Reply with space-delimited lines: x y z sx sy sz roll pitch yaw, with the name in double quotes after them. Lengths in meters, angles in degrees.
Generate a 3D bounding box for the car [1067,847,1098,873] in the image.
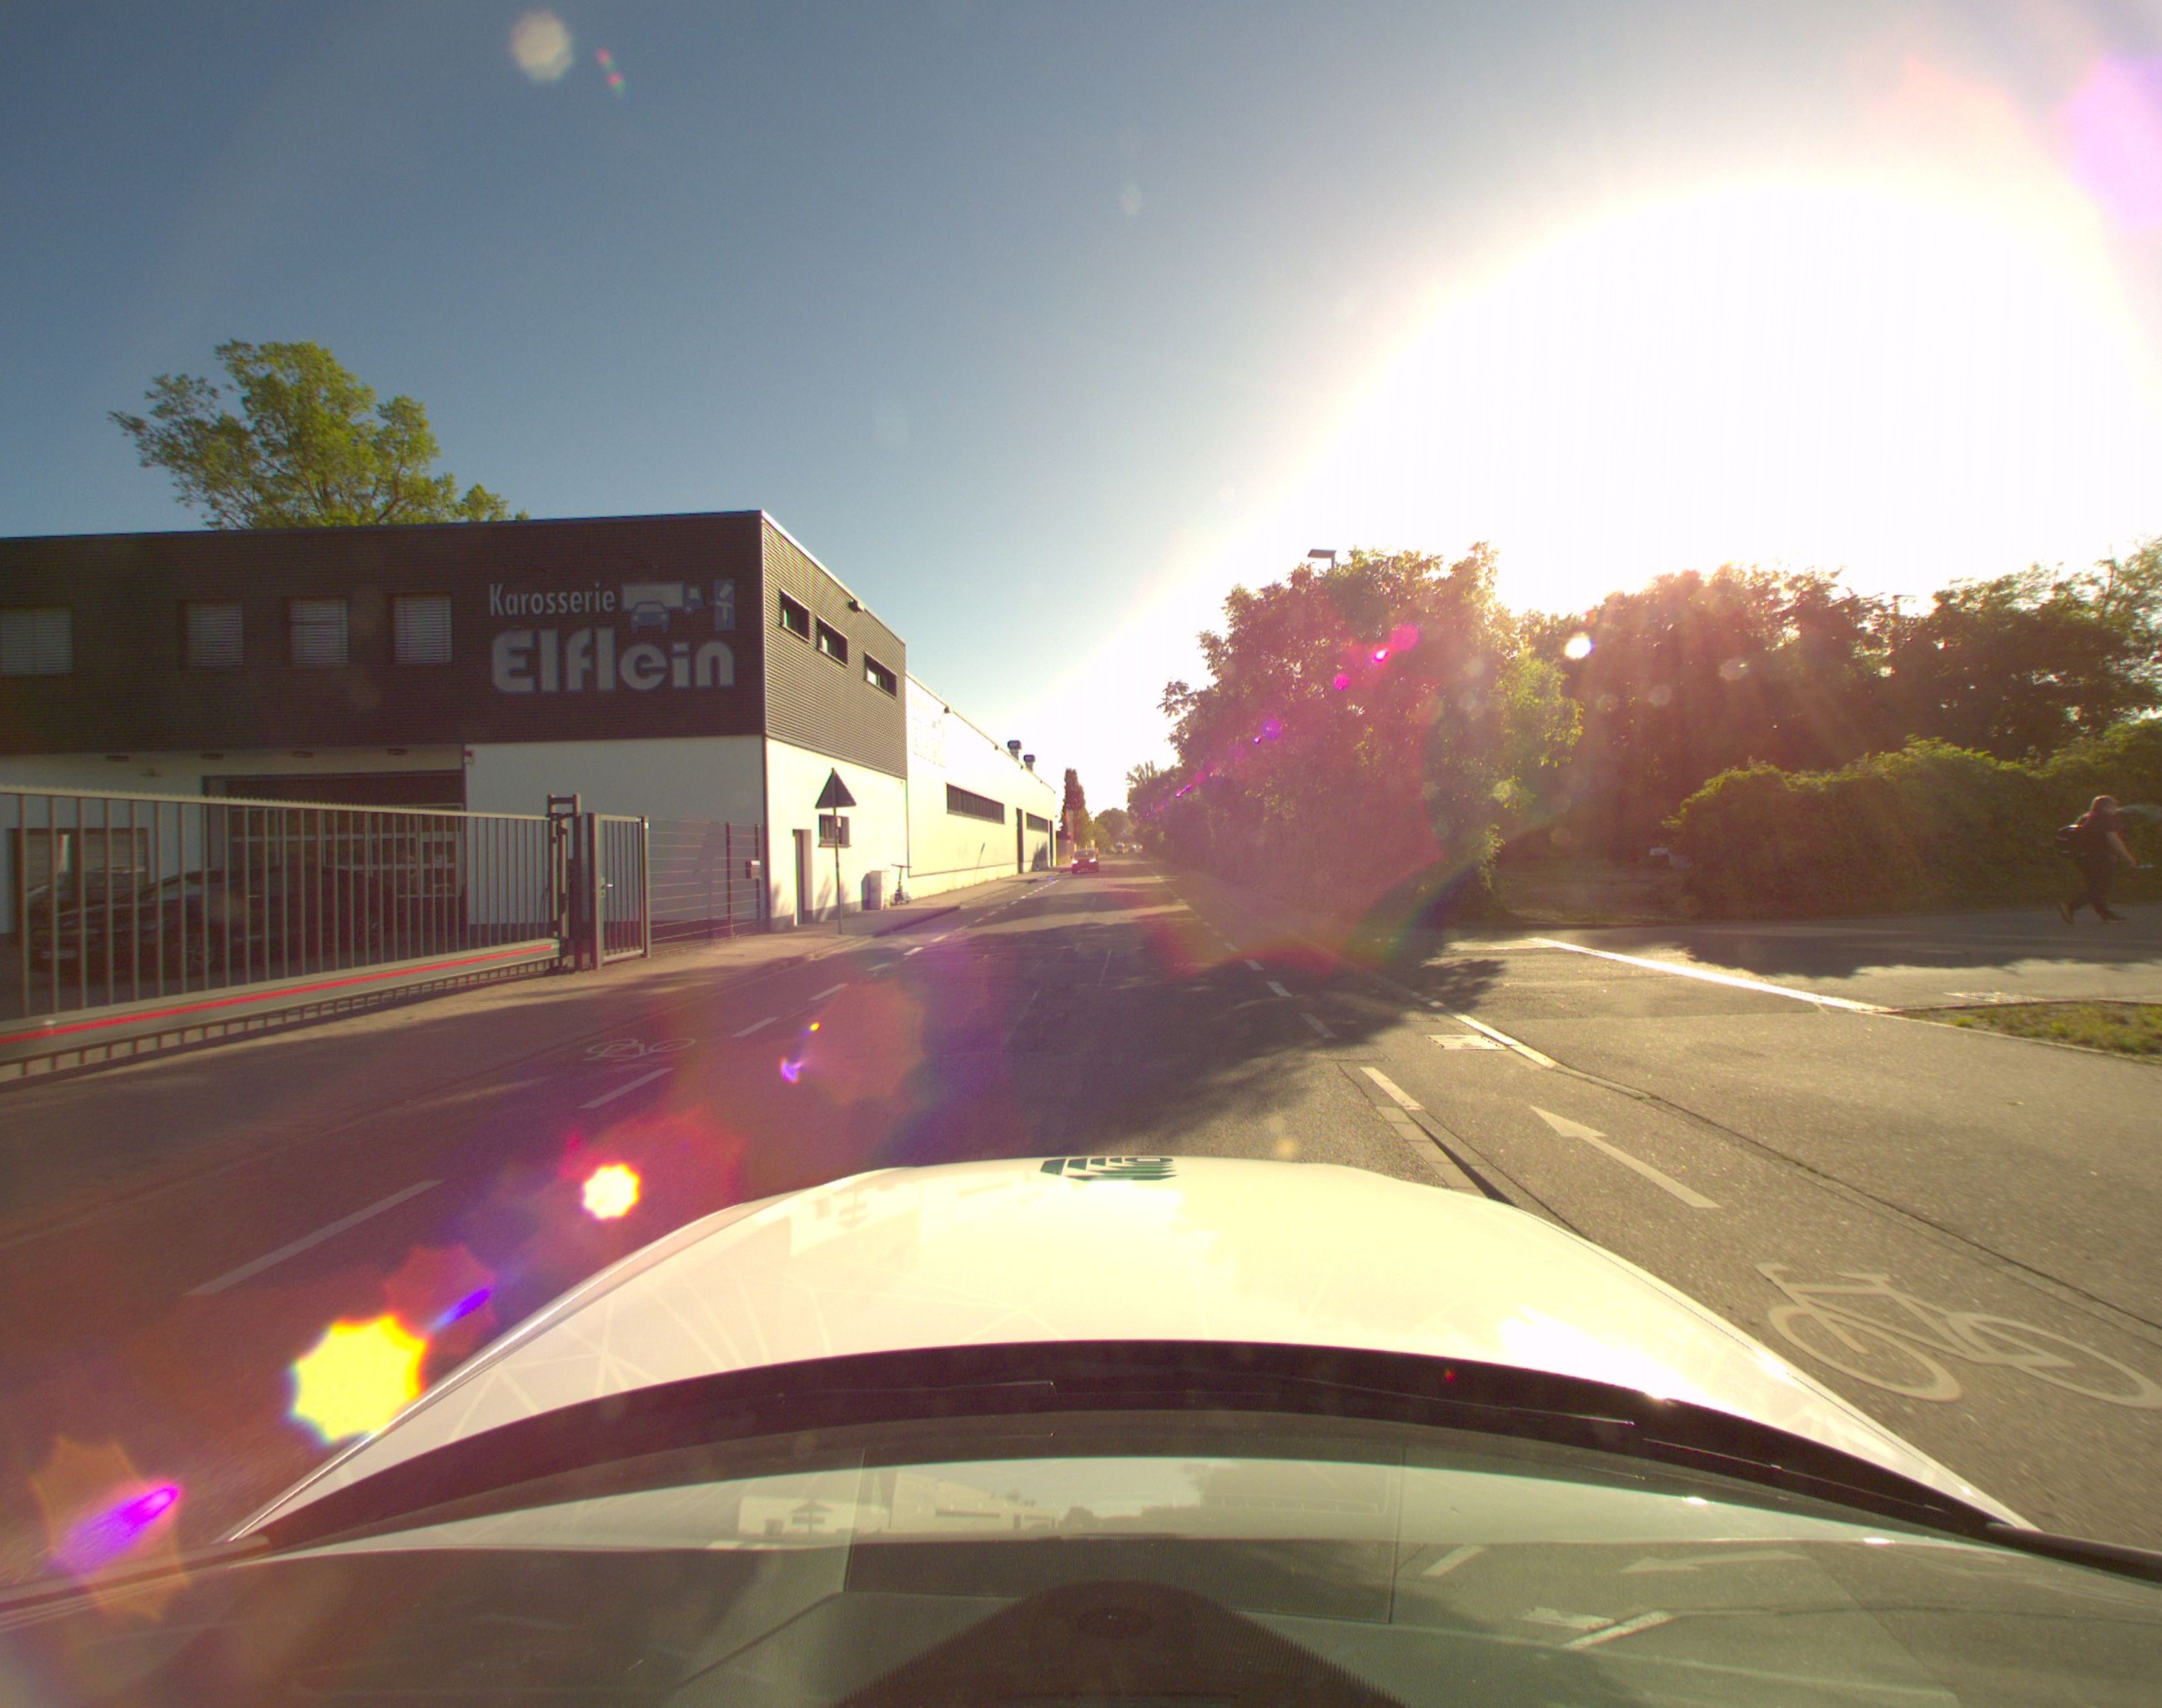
0.150 0.394 53.902 1.811 1.489 4.002 -5 0 2 "car"

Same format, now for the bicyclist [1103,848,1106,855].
5.463 -0.582 186.742 0.686 1.532 0.723 0 0 3 "bicyclist"

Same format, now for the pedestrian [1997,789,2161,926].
14.209 0.046 11.633 1.149 1.792 0.896 -4 0 -1 "pedestrian"

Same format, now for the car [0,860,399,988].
-13.991 0.990 13.386 1.862 1.540 4.181 -2 2 2 "car"

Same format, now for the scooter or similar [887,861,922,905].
-5.229 0.840 24.222 0.504 1.203 1.755 2 0 4 "scooter or similar"

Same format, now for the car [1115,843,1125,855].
9.364 -1.215 193.999 2.114 2.780 5.932 -3 0 3 "car"

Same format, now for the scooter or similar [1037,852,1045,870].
-2.882 0.478 58.534 0.414 1.267 1.060 -1 0 3 "scooter or similar"

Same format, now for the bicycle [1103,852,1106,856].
5.452 -0.032 186.655 0.686 1.034 1.352 0 0 3 "bicycle"
